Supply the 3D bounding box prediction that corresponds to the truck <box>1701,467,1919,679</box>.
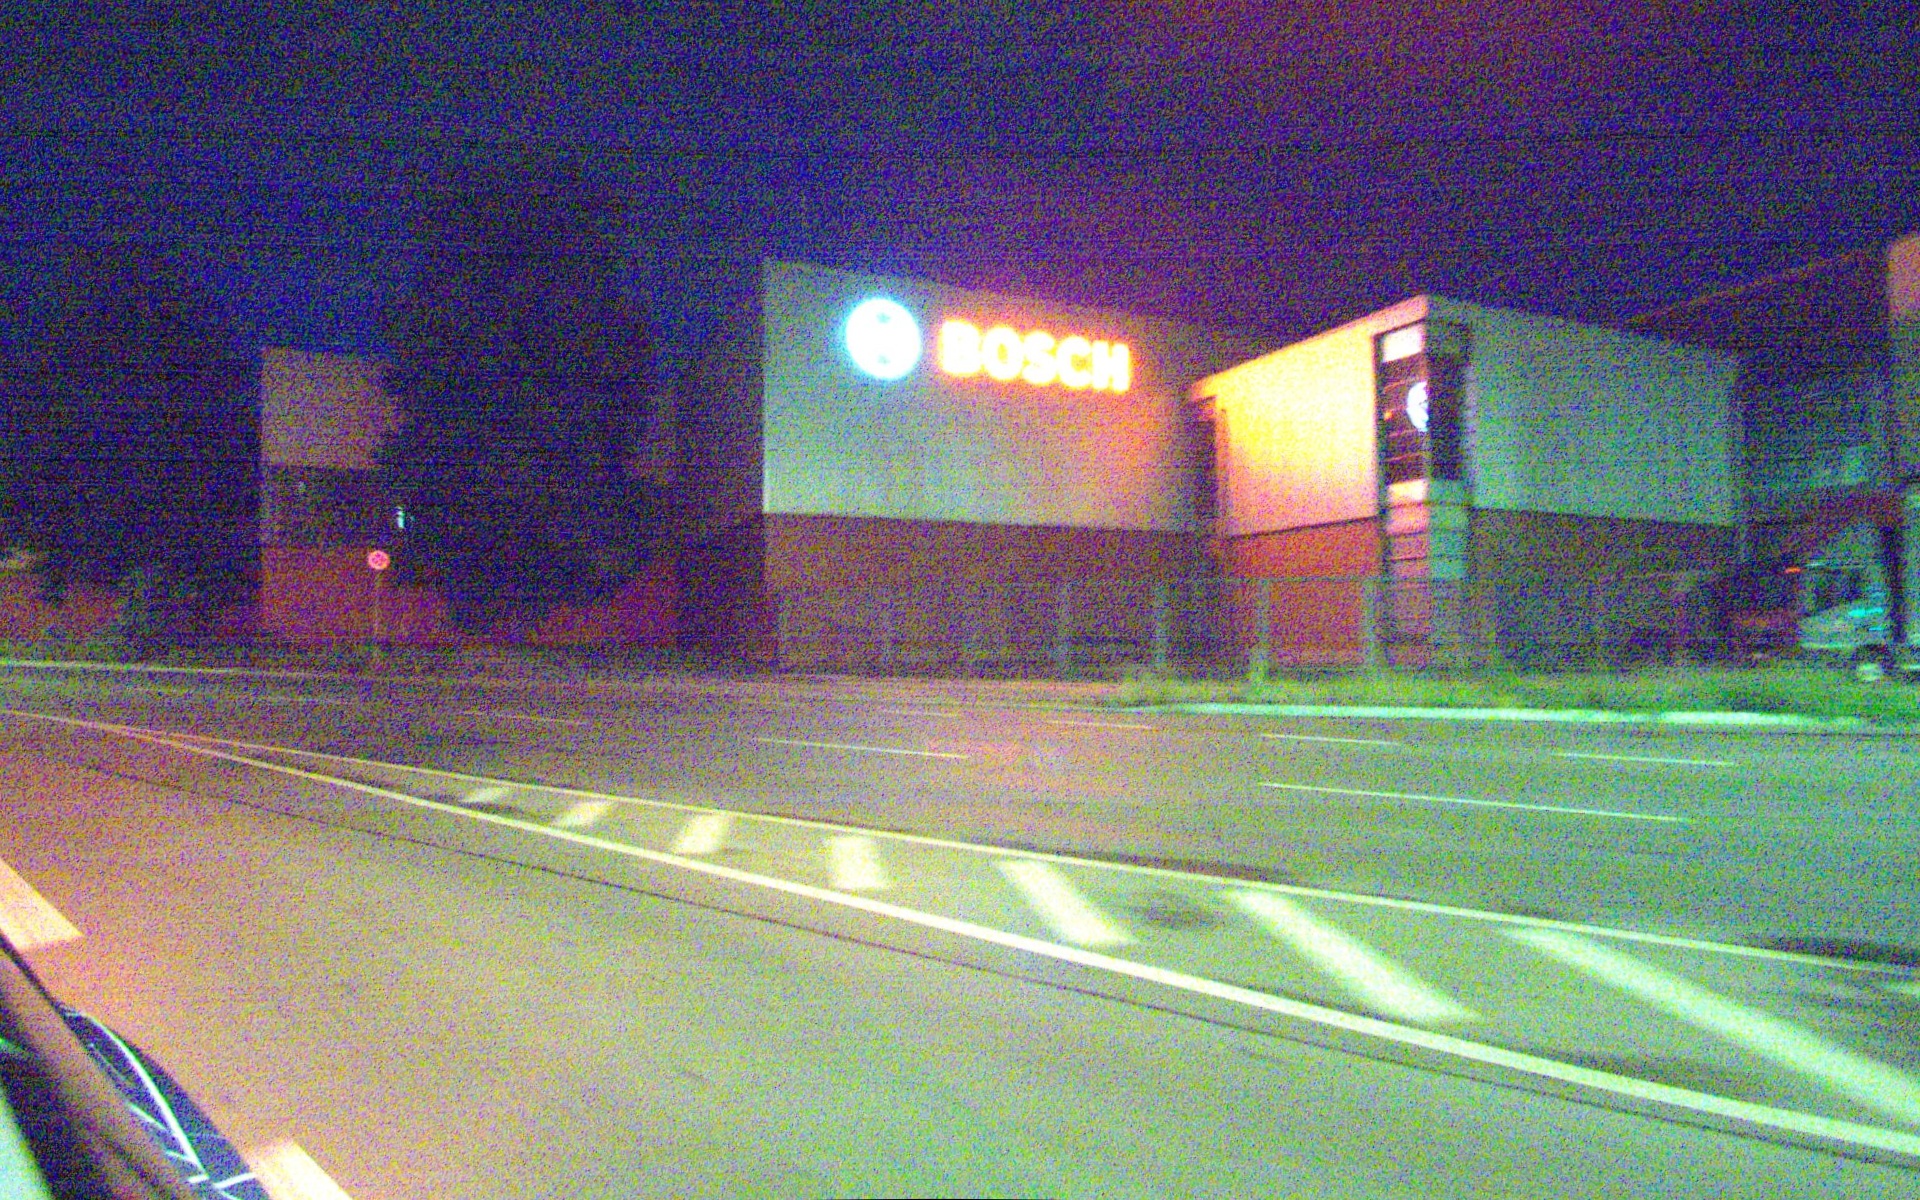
[{"bbox_3d":[20.241,-0.470,19.337,9.445,3.825,2.941,0,-1,8],"label":"truck"}]
